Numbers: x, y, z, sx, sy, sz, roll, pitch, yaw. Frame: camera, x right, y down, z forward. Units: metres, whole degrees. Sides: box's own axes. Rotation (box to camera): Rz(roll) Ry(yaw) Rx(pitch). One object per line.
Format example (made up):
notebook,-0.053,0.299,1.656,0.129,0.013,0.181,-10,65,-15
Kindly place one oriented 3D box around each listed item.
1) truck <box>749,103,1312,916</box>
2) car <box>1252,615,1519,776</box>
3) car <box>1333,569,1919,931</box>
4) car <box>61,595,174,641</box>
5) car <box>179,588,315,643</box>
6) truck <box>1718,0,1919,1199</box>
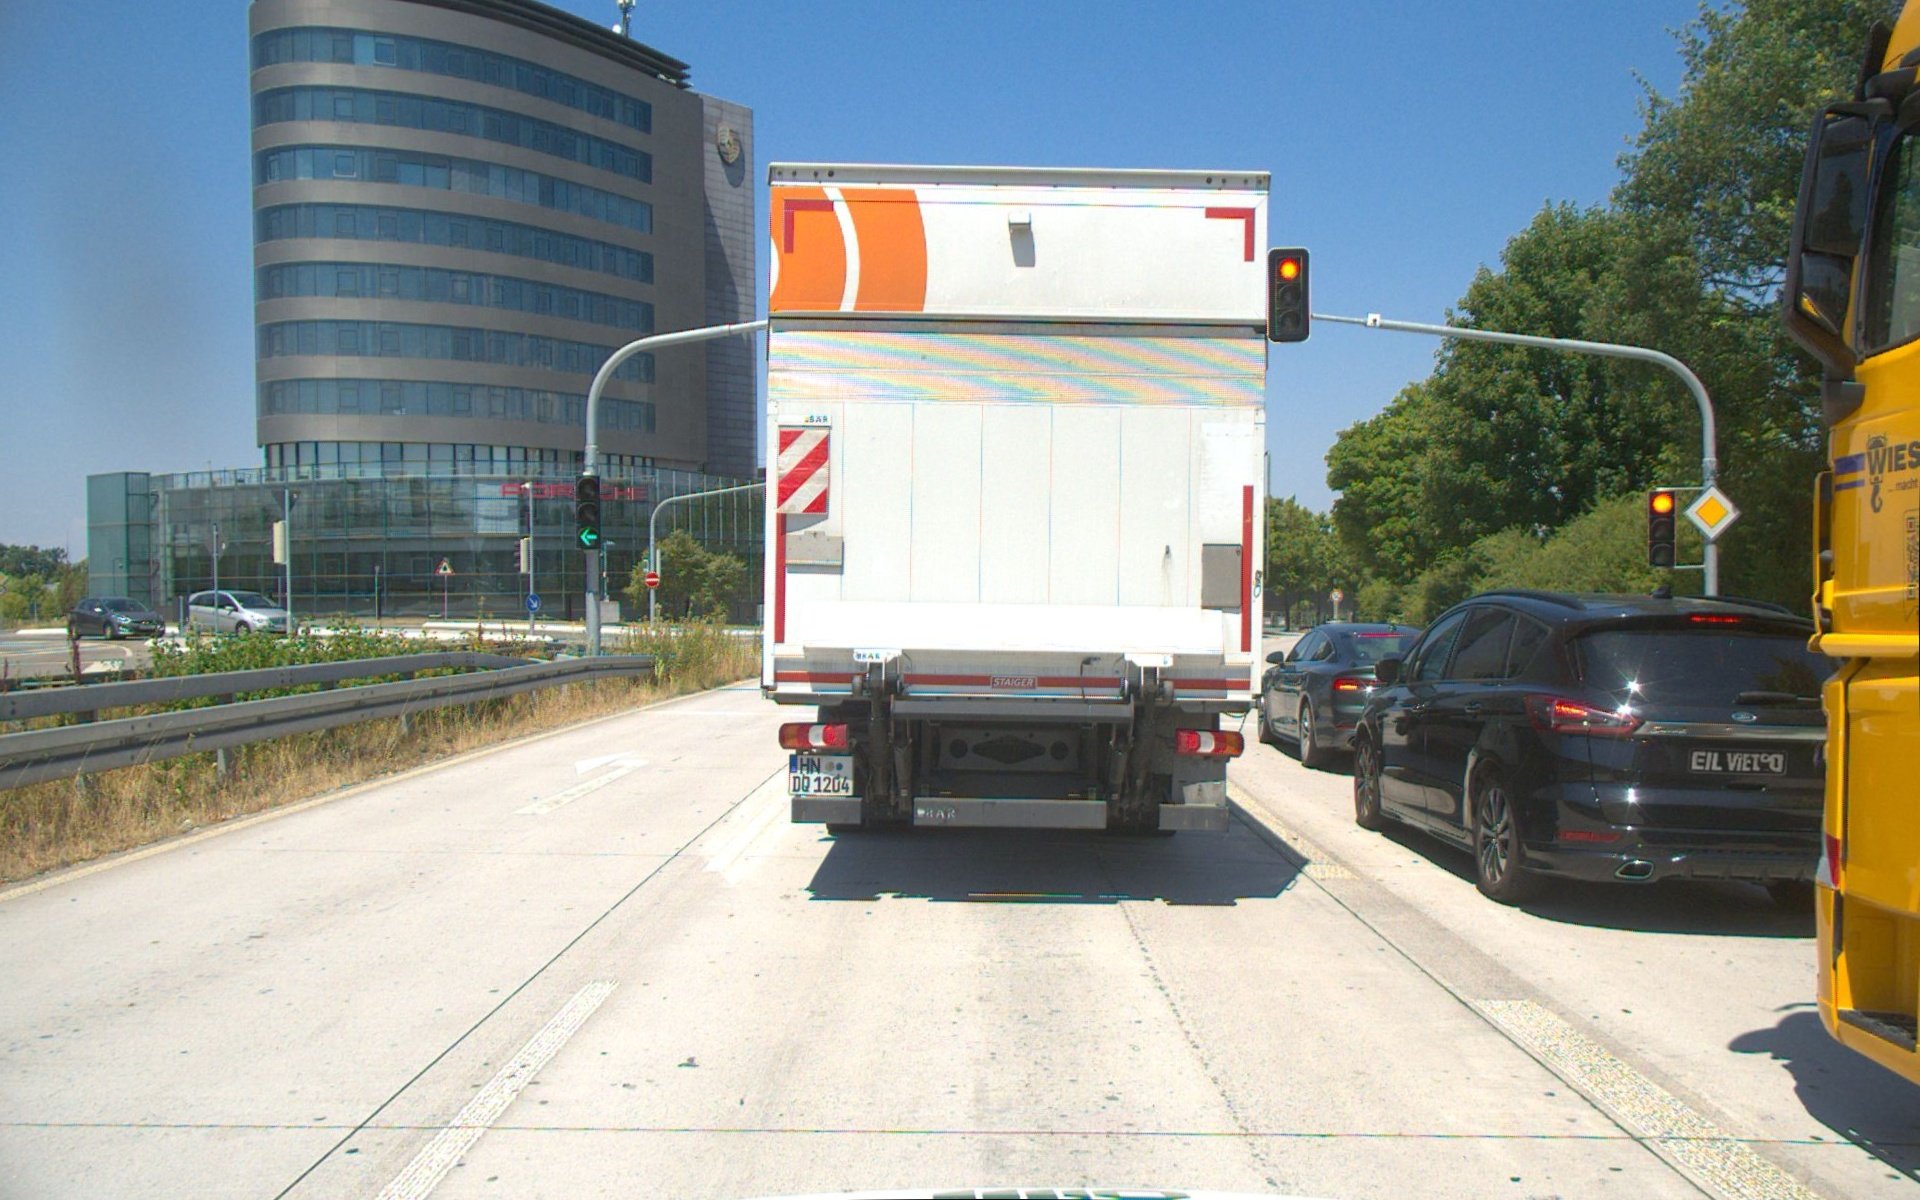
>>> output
truck,0.331,-0.397,12.694,2.713,3.927,9.369,0,-1,0
car,4.279,0.891,17.345,1.731,1.435,4.610,1,-1,2
car,3.699,0.726,10.079,1.747,1.668,4.646,1,-1,-1
car,-28.967,0.652,56.851,4.241,1.482,1.691,-2,-2,35
car,-22.600,0.505,52.403,4.233,1.623,1.774,-2,-2,29
truck,3.962,-0.395,1.425,2.953,3.839,7.466,1,0,-2
